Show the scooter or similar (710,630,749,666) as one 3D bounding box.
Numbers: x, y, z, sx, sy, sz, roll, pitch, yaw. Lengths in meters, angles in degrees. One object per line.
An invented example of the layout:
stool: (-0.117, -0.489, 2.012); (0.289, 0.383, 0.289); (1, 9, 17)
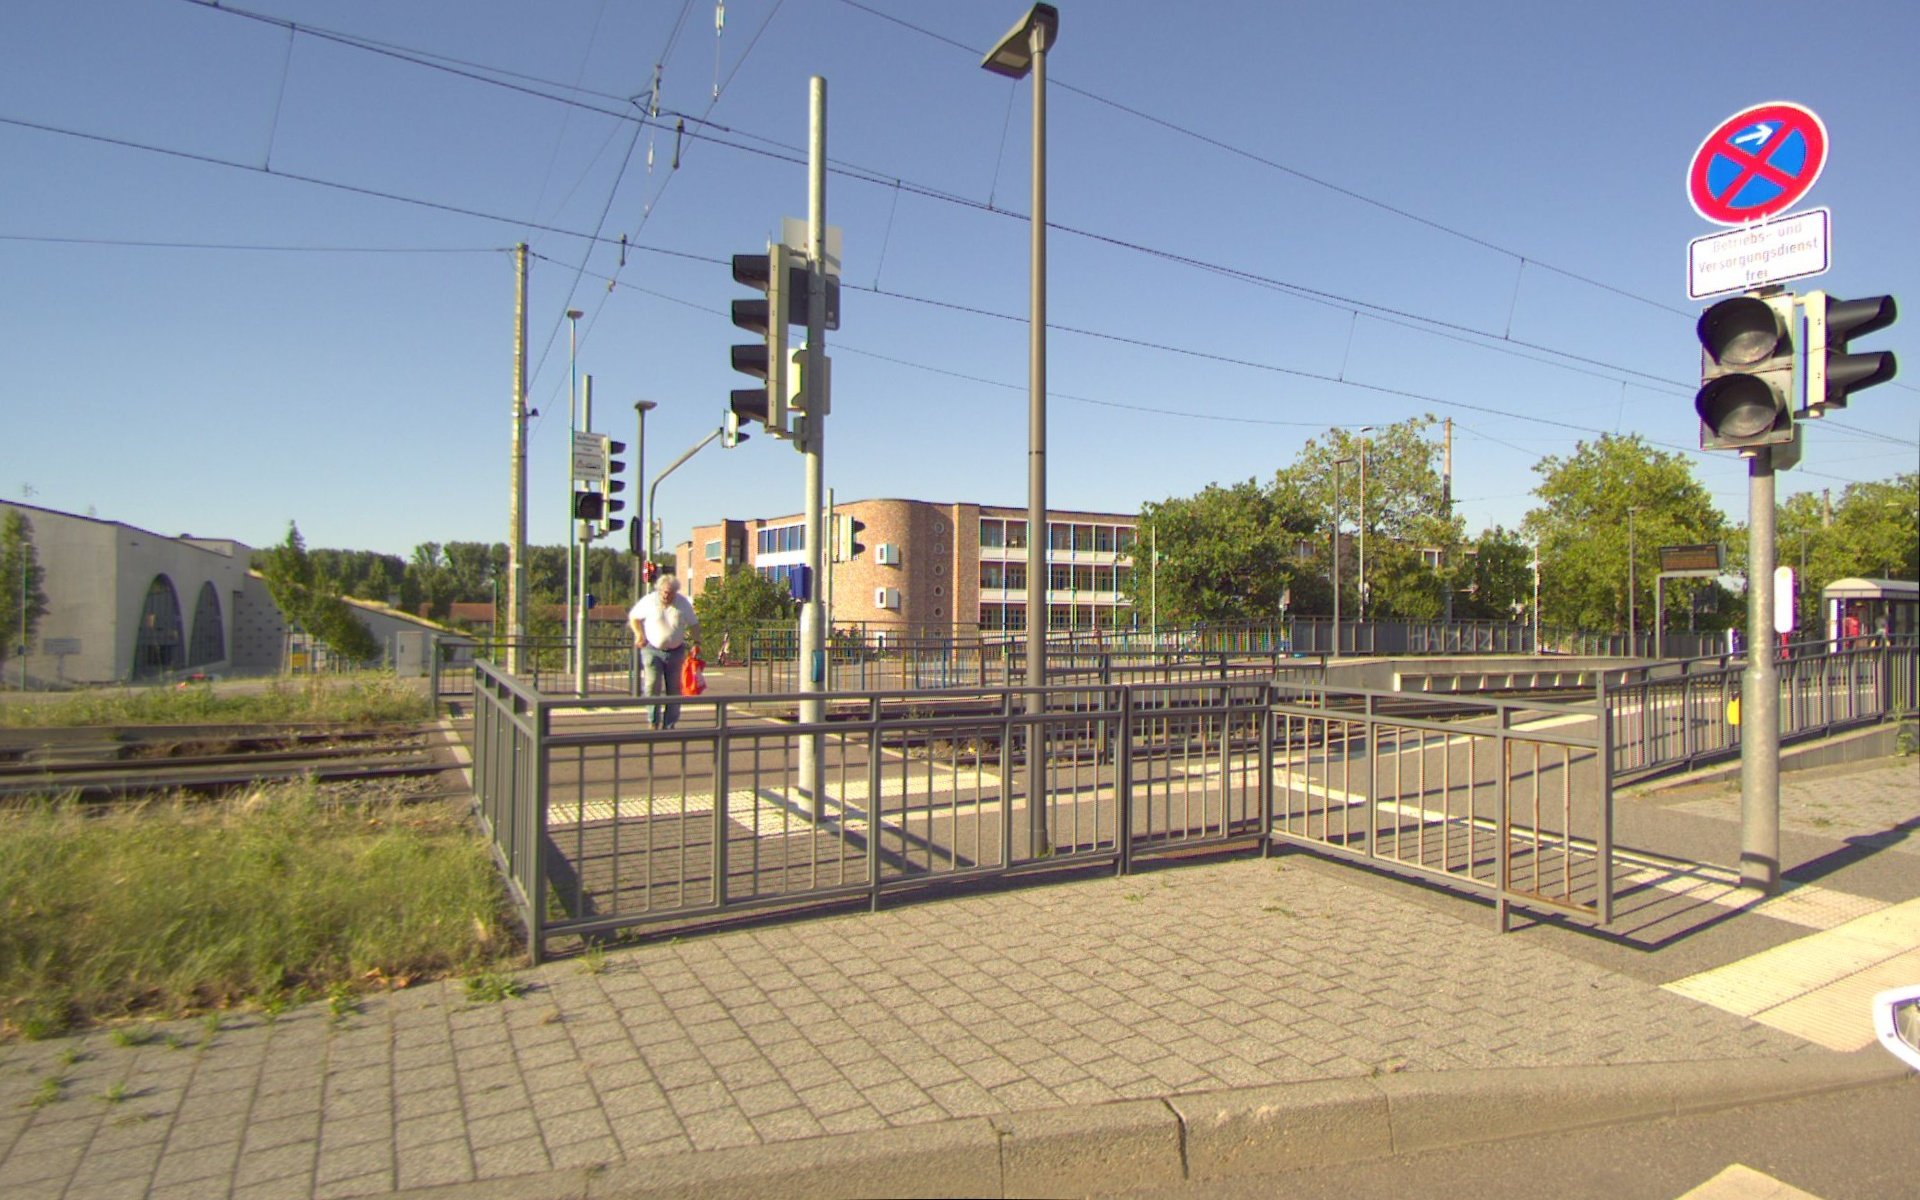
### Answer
scooter or similar: (-7.155, 1.478, 31.175); (1.127, 1.110, 0.399); (2, -1, -42)

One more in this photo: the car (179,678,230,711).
car: (-43.421, 5.417, 57.813); (1.673, 1.572, 3.971); (1, -1, -28)

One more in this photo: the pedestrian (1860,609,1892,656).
pedestrian: (34.962, 1.240, 38.350); (0.576, 1.780, 0.701); (1, 0, 6)

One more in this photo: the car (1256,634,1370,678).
car: (12.563, 1.949, 35.699); (3.953, 1.465, 1.724); (1, -1, -30)

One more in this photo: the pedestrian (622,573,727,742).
pedestrian: (-2.995, 0.586, 10.494); (0.972, 1.666, 0.888); (1, -1, -20)
